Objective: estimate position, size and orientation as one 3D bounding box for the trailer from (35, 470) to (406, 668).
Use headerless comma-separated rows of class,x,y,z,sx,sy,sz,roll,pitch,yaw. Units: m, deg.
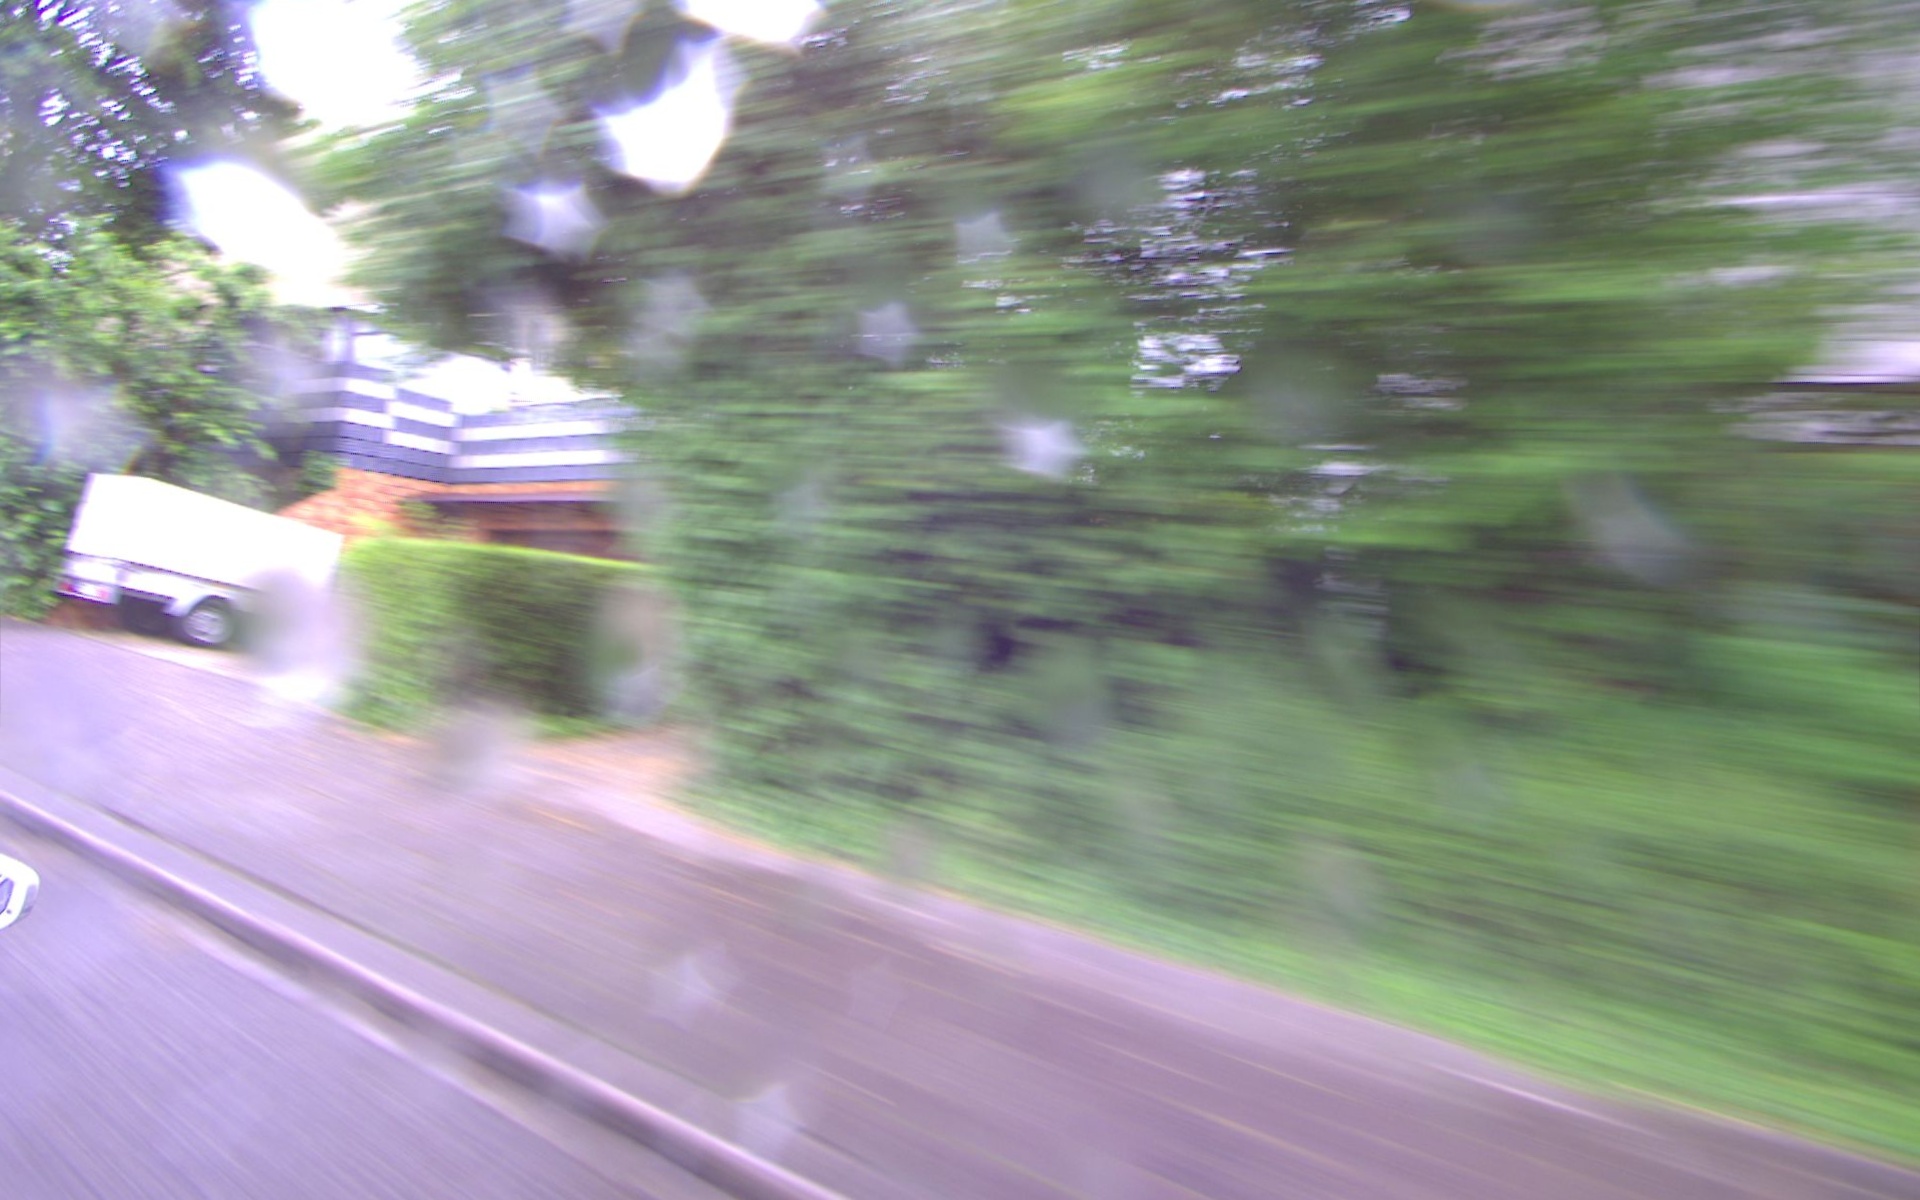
trailer,-8.604,-0.286,11.959,1.463,1.583,2.997,7,-8,29
